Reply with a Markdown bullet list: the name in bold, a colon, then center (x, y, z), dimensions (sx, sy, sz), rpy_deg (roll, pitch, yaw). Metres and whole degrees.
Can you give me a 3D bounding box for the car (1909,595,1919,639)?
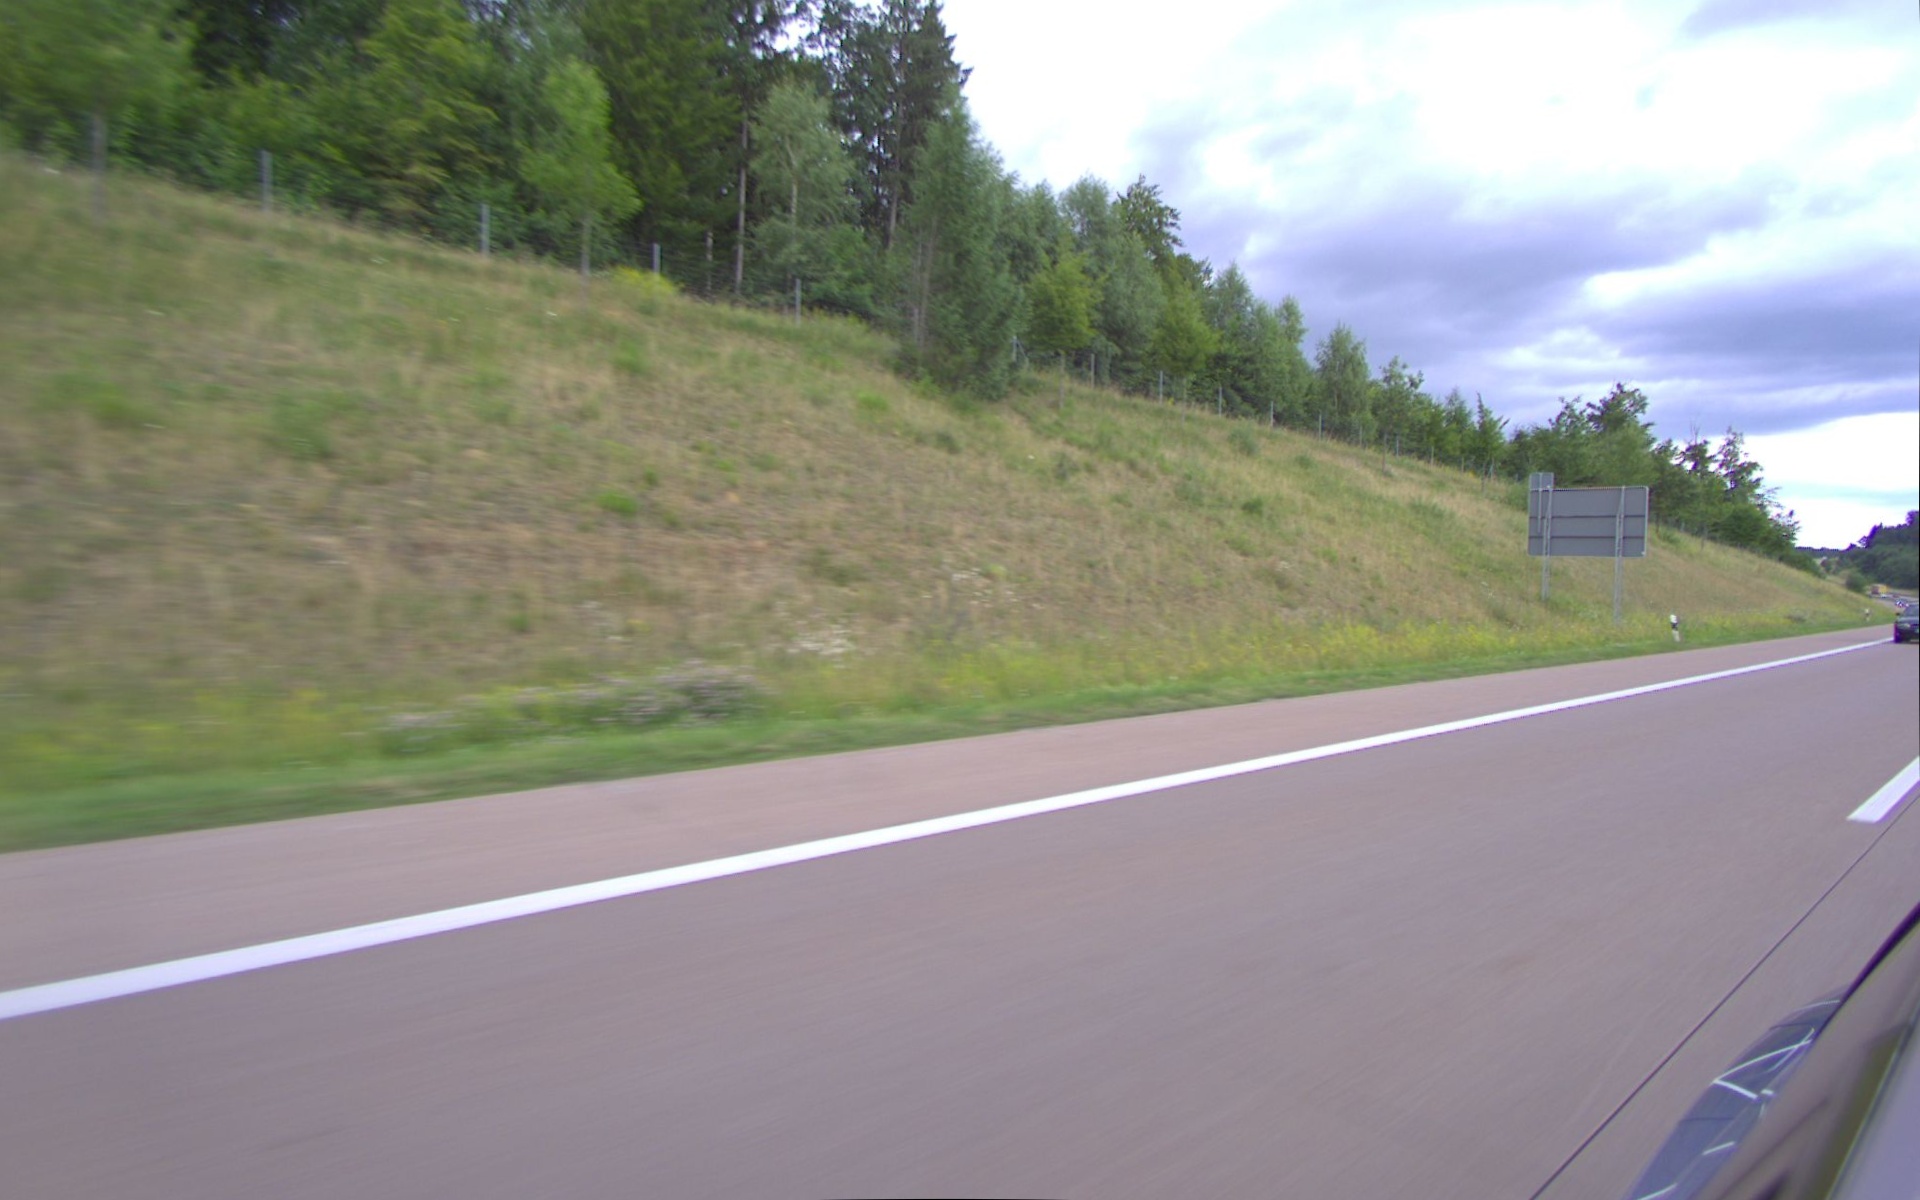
- **car**: center (34.172, 0.558, 34.914), dimensions (4.160, 1.420, 1.675), rpy_deg (-2, 2, -41)
